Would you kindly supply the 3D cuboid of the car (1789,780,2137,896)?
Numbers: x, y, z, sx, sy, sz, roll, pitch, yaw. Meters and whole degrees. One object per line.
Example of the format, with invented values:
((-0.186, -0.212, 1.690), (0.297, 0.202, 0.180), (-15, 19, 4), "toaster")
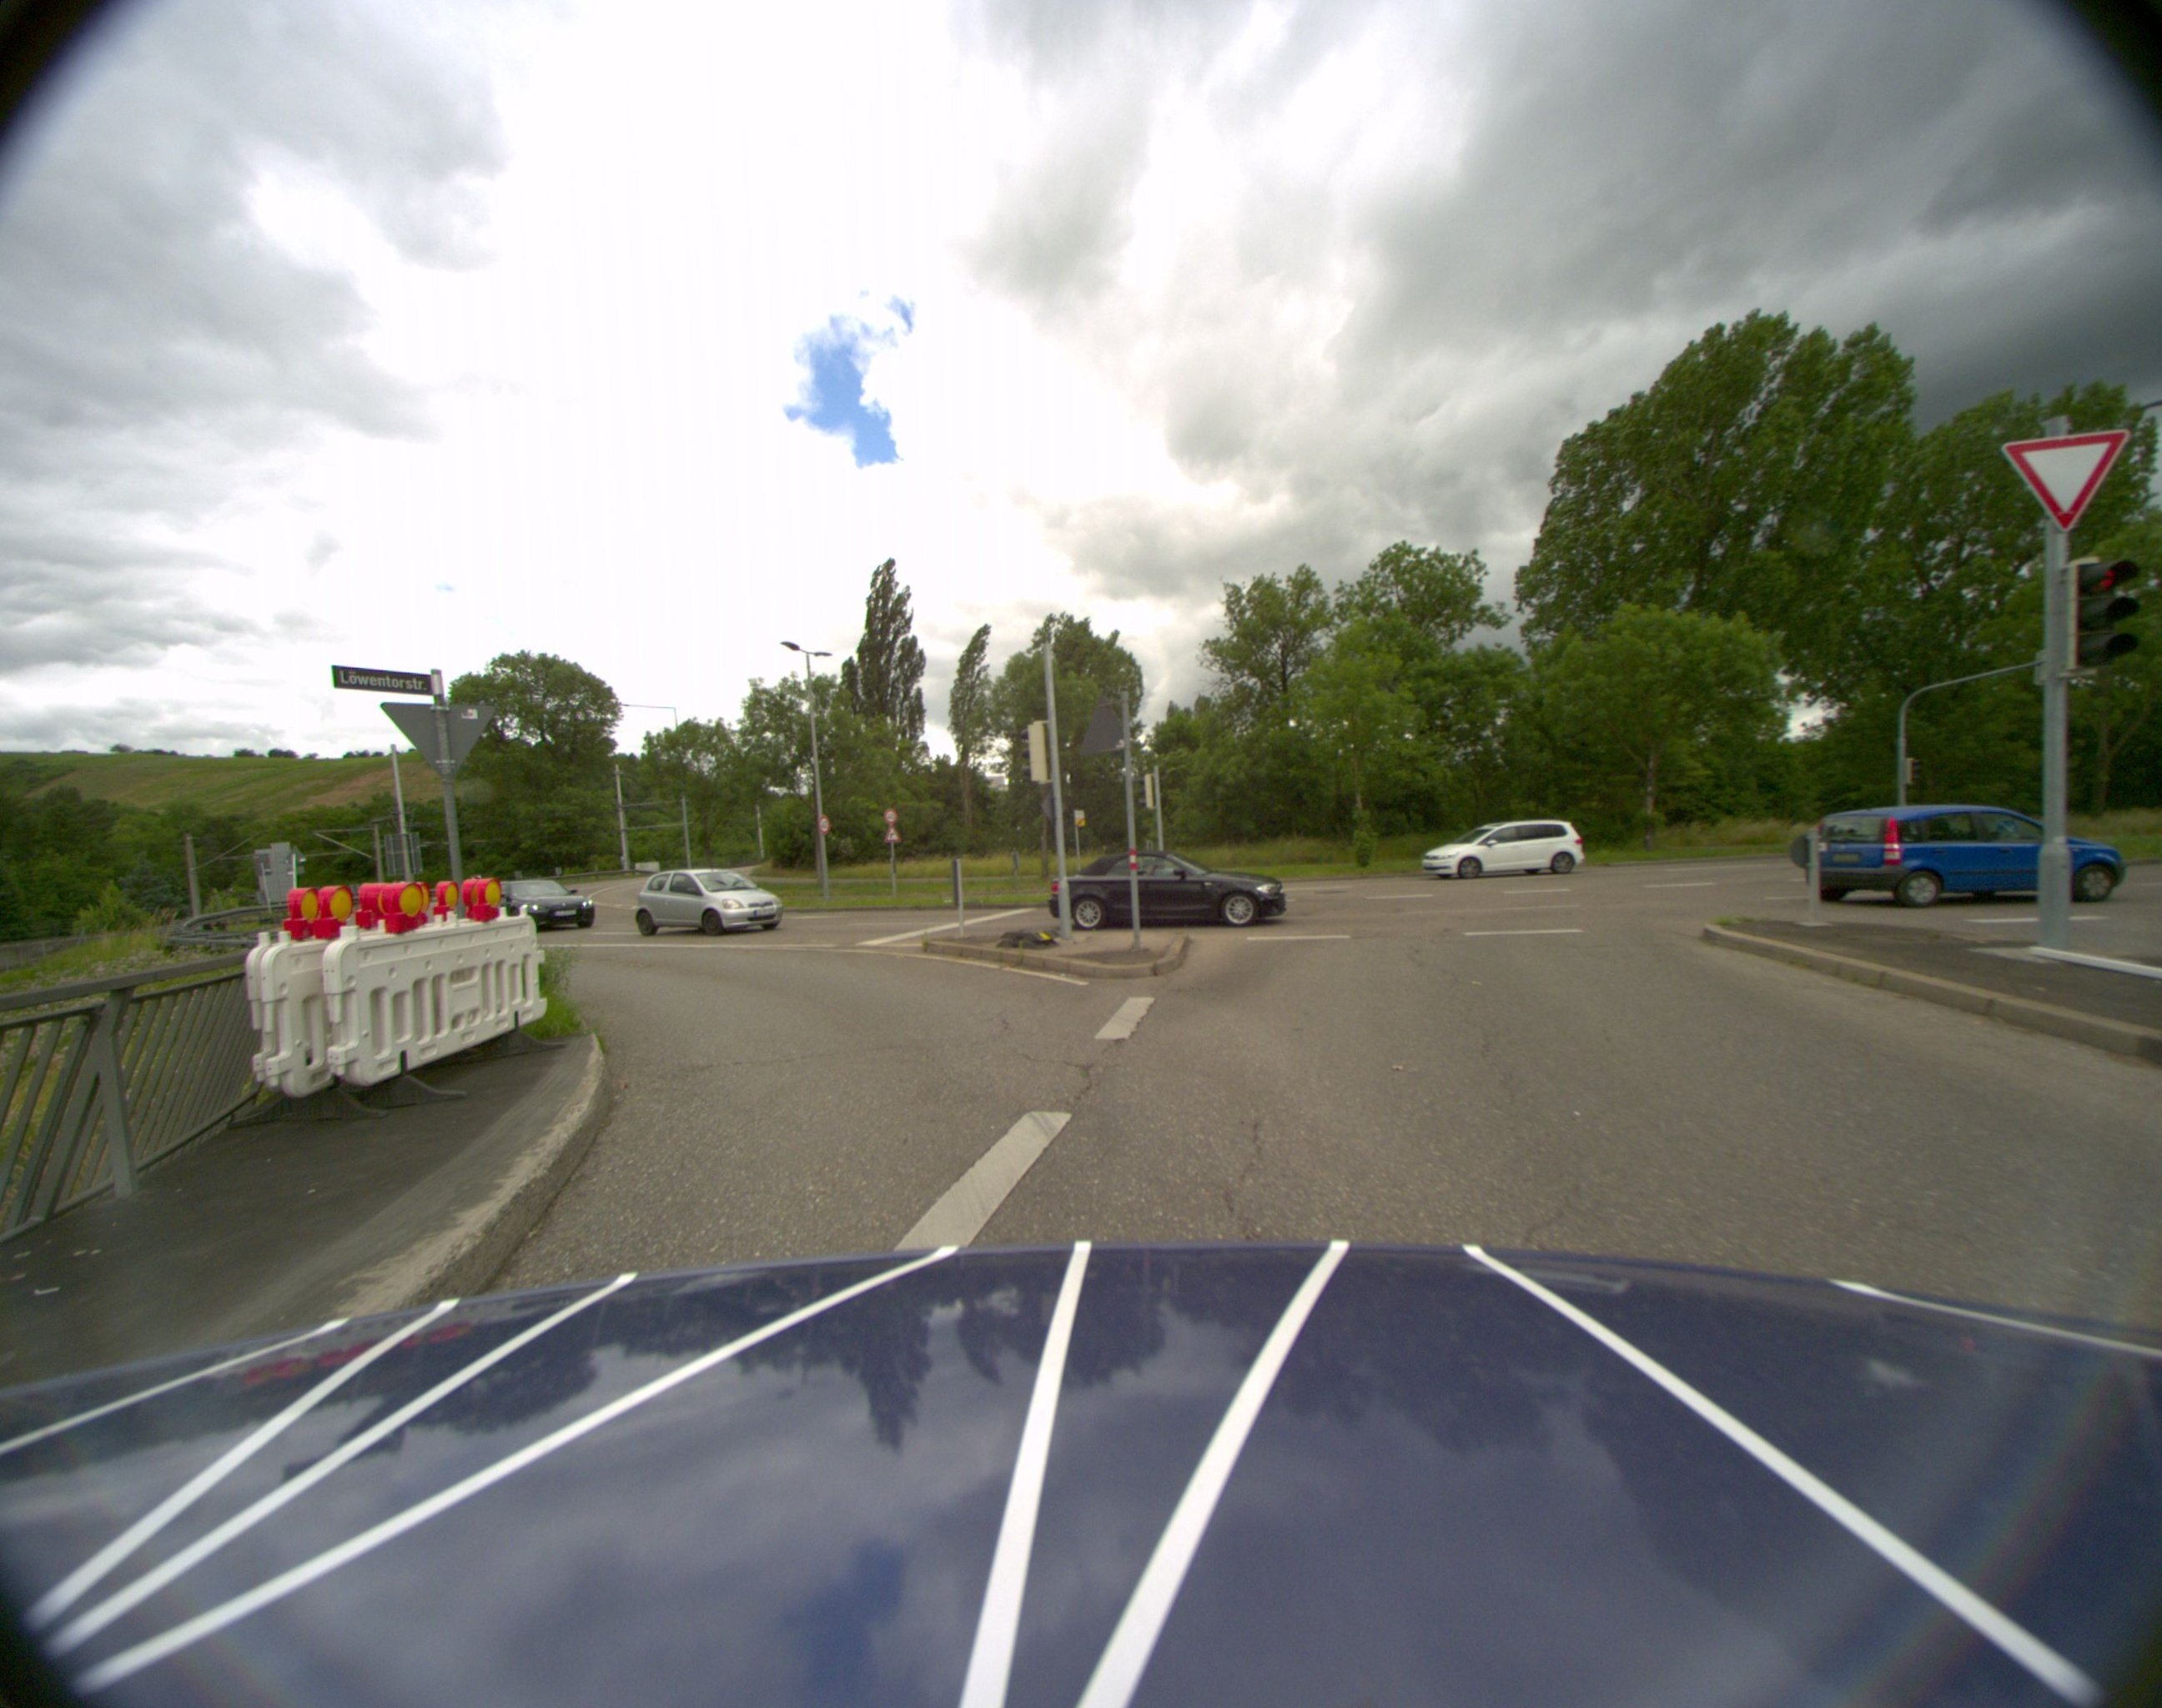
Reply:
((13.407, -0.237, 11.724), (3.376, 1.499, 1.548), (-3, 1, 5), "car")

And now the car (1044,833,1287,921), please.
((1.553, 0.422, 13.827), (4.075, 1.360, 1.570), (-3, 1, 19), "car")

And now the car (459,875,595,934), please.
((-16.231, 1.405, 22.161), (4.950, 1.468, 1.882), (-2, 1, 38), "car")

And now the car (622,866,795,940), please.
((-8.635, 1.114, 17.589), (3.619, 1.461, 1.676), (-2, 2, 27), "car")

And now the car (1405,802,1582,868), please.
((12.658, -0.604, 23.520), (4.319, 1.750, 2.082), (-3, 2, 0), "car")
